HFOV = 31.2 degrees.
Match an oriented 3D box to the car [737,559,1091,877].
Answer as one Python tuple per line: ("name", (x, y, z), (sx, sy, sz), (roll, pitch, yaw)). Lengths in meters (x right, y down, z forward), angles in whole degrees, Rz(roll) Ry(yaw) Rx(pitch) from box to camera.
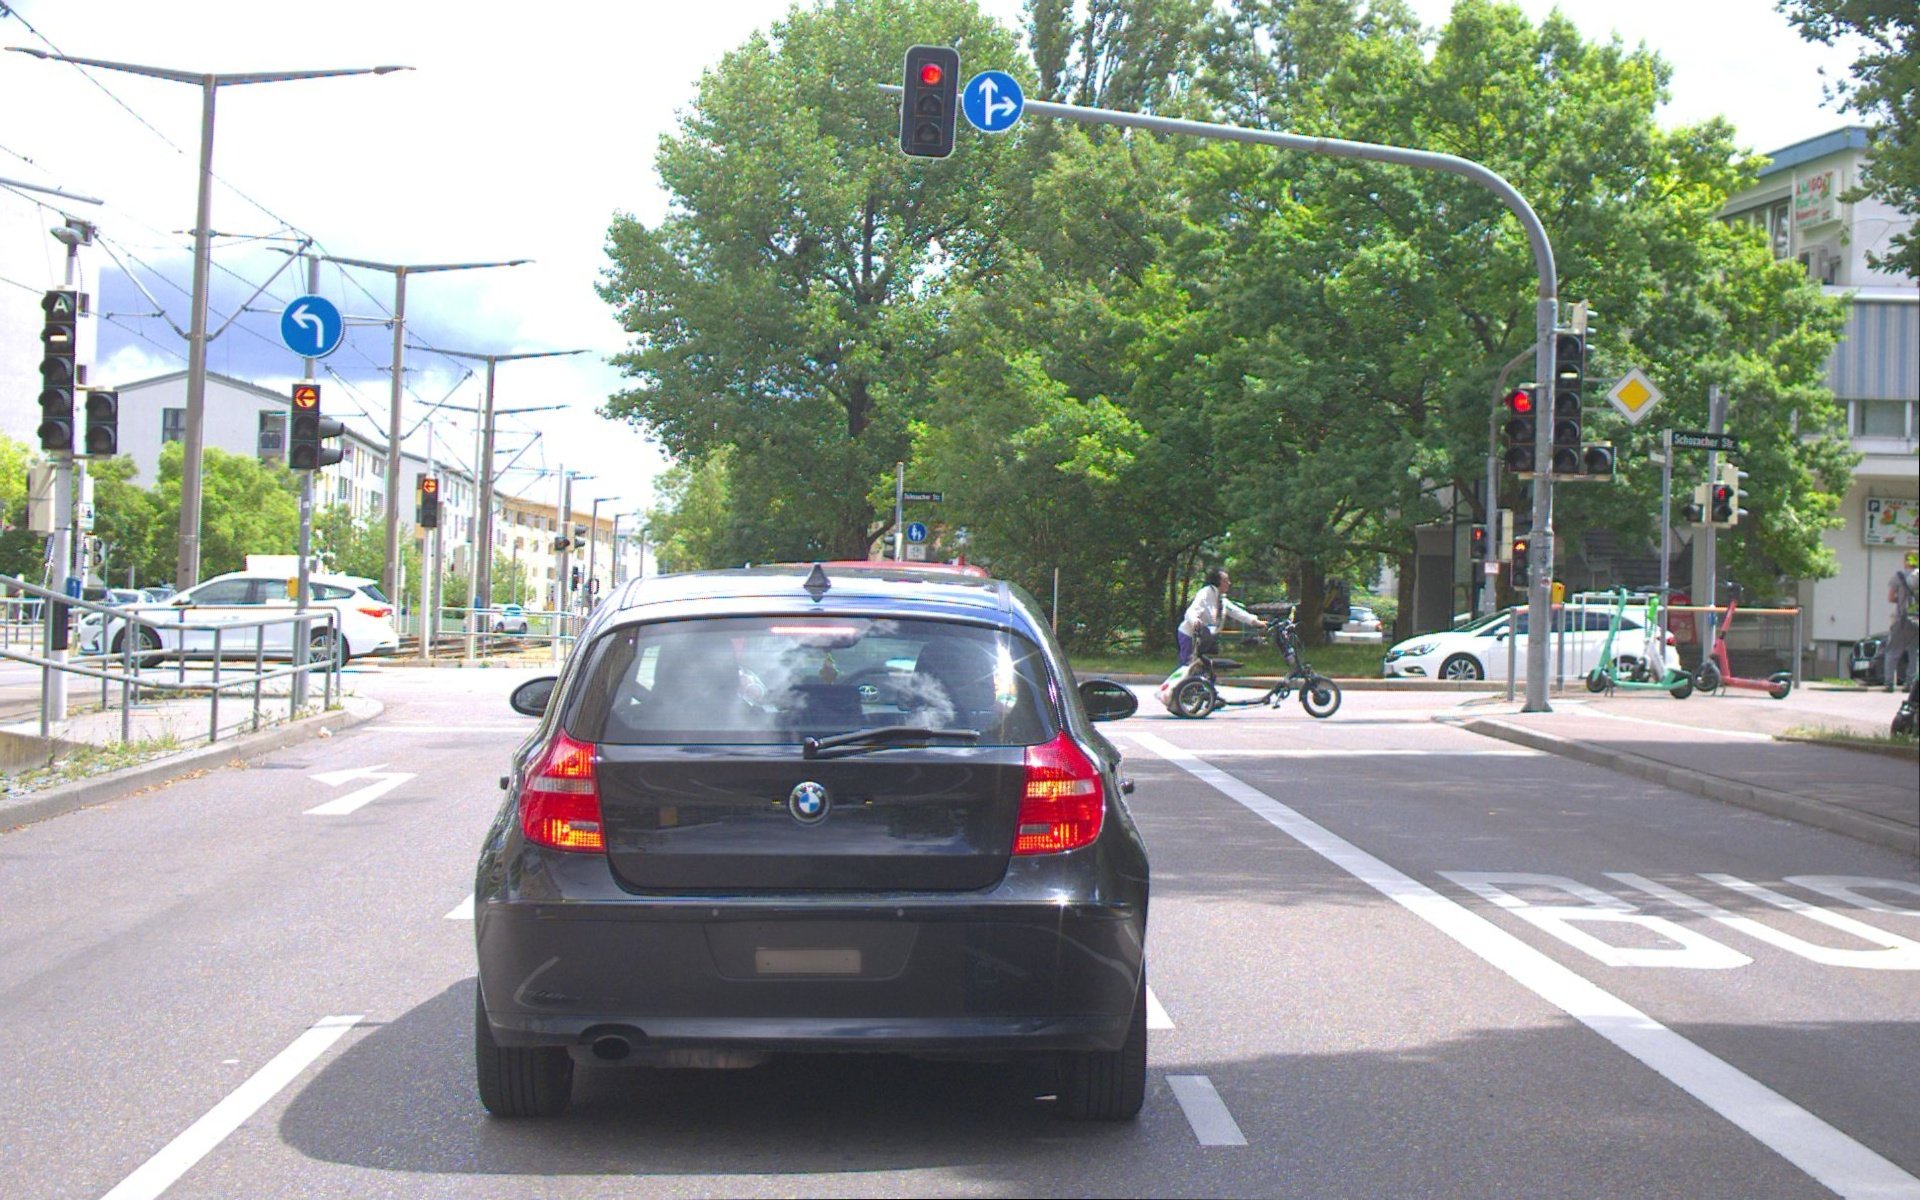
("car", (-0.208, 0.516, 17.372), (1.594, 1.414, 3.517), (1, 1, 0))

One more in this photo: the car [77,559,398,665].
("car", (-10.713, 0.166, 51.152), (4.571, 1.521, 1.945), (0, 1, -11))

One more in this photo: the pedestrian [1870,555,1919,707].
("pedestrian", (11.352, 0.374, 41.385), (0.614, 1.784, 0.568), (5, 1, 18))

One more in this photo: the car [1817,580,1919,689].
("car", (14.987, 0.521, 51.913), (3.576, 1.595, 1.712), (1, 0, -12))

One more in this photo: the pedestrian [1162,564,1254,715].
("pedestrian", (2.419, 0.375, 33.484), (0.865, 1.438, 0.798), (1, 1, 5))

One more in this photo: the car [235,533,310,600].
("car", (-27.893, -1.377, 139.625), (2.139, 2.631, 5.359), (1, 1, -2))

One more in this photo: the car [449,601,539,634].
("car", (-22.981, 0.860, 169.598), (1.971, 1.590, 3.990), (2, 1, 43))

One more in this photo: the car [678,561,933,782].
("car", (-1.079, 0.450, 24.287), (1.654, 1.414, 3.517), (1, 1, -2))

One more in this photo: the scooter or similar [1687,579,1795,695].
("scooter or similar", (8.524, 0.401, 37.521), (1.106, 1.253, 0.332), (0, 1, -12))

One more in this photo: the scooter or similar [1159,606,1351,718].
("scooter or similar", (2.829, 0.598, 33.009), (1.780, 1.047, 0.410), (1, 1, -7))

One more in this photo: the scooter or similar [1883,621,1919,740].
("scooter or similar", (9.233, 0.752, 32.238), (1.148, 1.095, 0.332), (1, 1, -24))

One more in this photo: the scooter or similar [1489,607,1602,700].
("scooter or similar", (6.031, 0.551, 35.429), (1.119, 0.954, 0.300), (0, 1, -16))

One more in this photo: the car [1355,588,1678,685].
("car", (8.783, 0.564, 54.431), (4.638, 1.475, 2.001), (0, 1, -9))

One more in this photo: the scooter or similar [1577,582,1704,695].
("scooter or similar", (7.259, 0.411, 36.689), (1.287, 1.185, 0.385), (0, 1, -16))

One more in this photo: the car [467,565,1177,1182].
("car", (-0.293, 0.624, 9.845), (1.654, 1.414, 3.517), (1, 1, 1))
